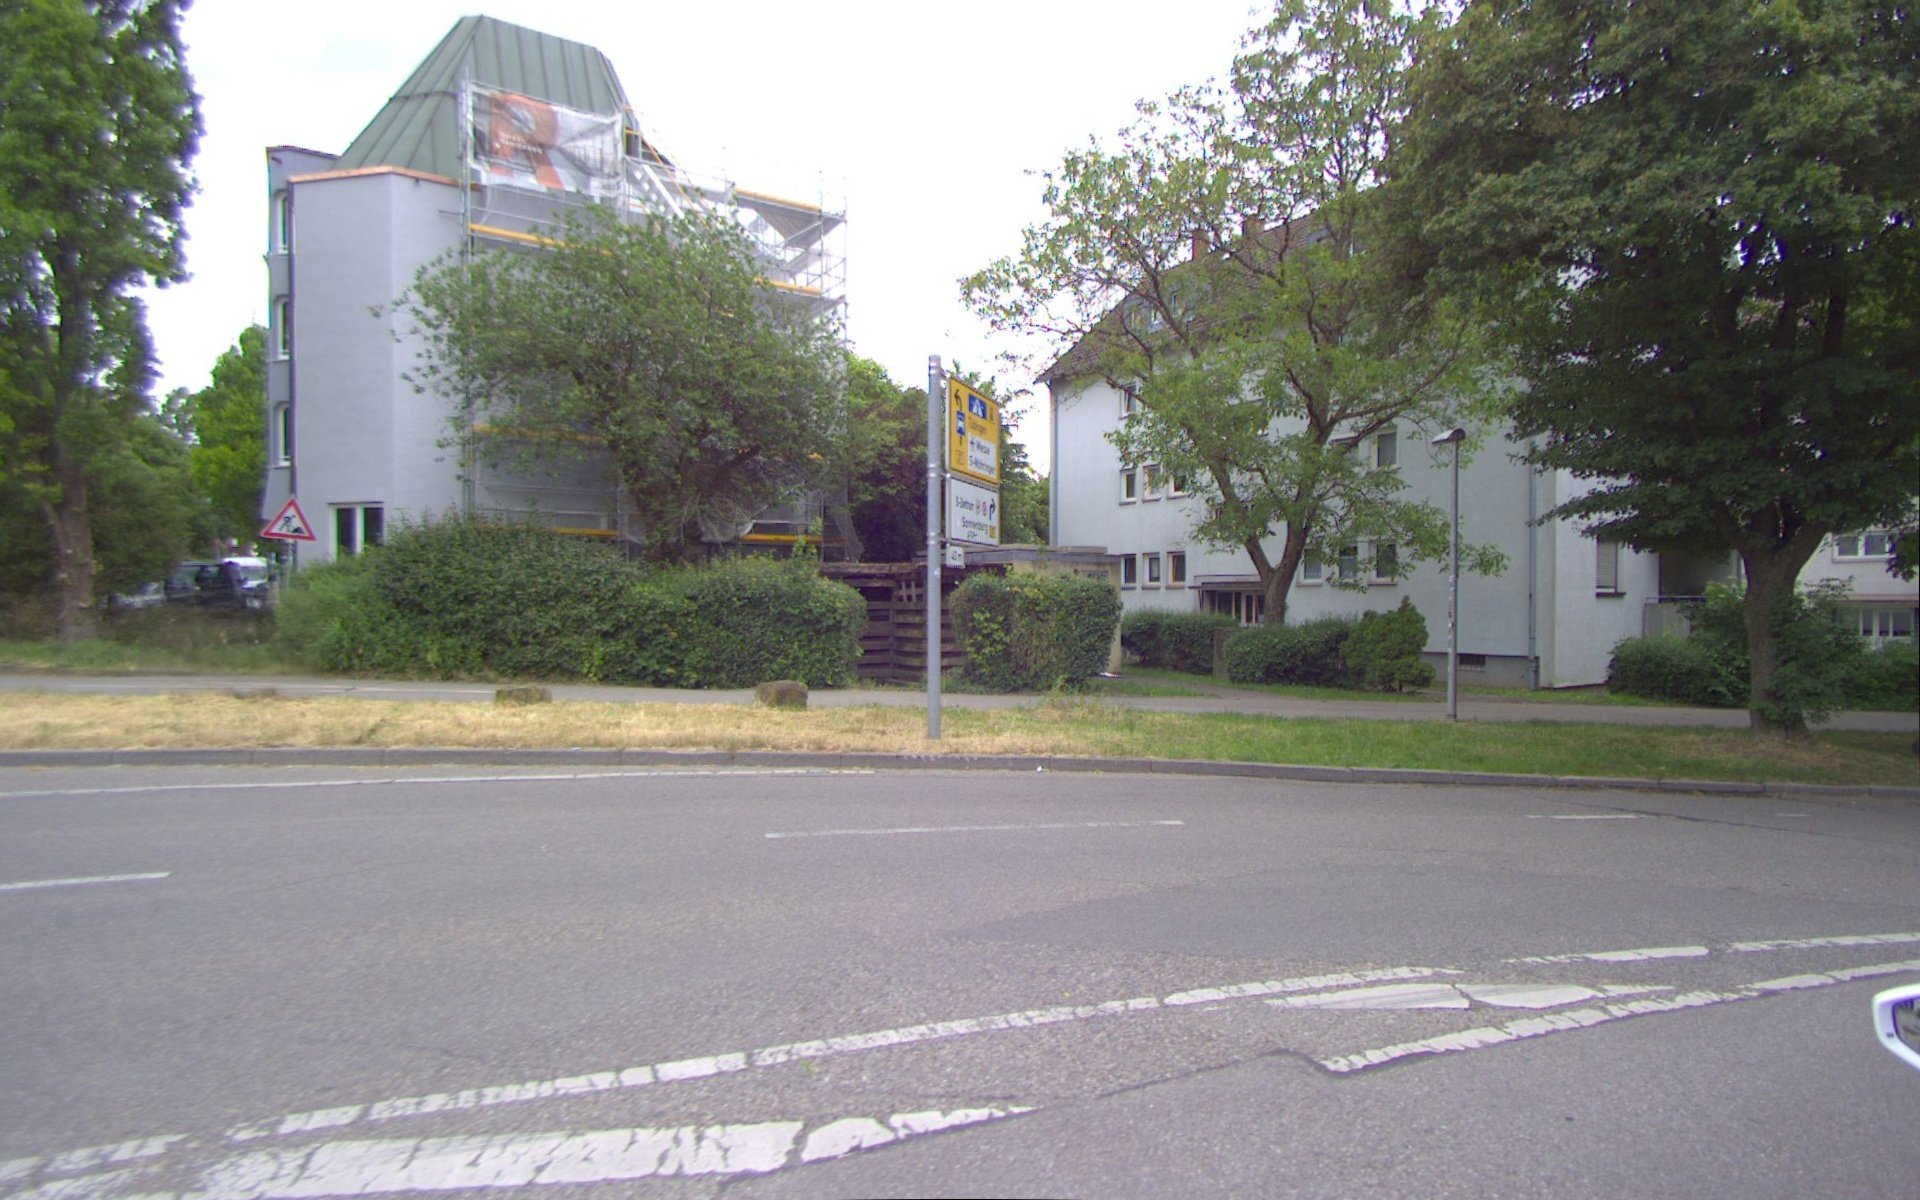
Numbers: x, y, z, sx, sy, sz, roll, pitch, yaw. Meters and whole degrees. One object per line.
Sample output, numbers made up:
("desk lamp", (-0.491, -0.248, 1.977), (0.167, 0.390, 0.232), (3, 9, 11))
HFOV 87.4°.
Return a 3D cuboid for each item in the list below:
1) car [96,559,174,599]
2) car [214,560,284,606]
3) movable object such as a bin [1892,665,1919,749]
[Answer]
("car", (-45.948, -1.200, 56.084), (2.289, 2.120, 5.451), (-1, 3, -28))
("car", (-37.094, -0.951, 52.525), (2.289, 2.285, 5.451), (-1, 3, -28))
("movable object such as a bin", (10.983, 1.206, 11.209), (0.610, 0.875, 0.730), (2, 3, 23))
